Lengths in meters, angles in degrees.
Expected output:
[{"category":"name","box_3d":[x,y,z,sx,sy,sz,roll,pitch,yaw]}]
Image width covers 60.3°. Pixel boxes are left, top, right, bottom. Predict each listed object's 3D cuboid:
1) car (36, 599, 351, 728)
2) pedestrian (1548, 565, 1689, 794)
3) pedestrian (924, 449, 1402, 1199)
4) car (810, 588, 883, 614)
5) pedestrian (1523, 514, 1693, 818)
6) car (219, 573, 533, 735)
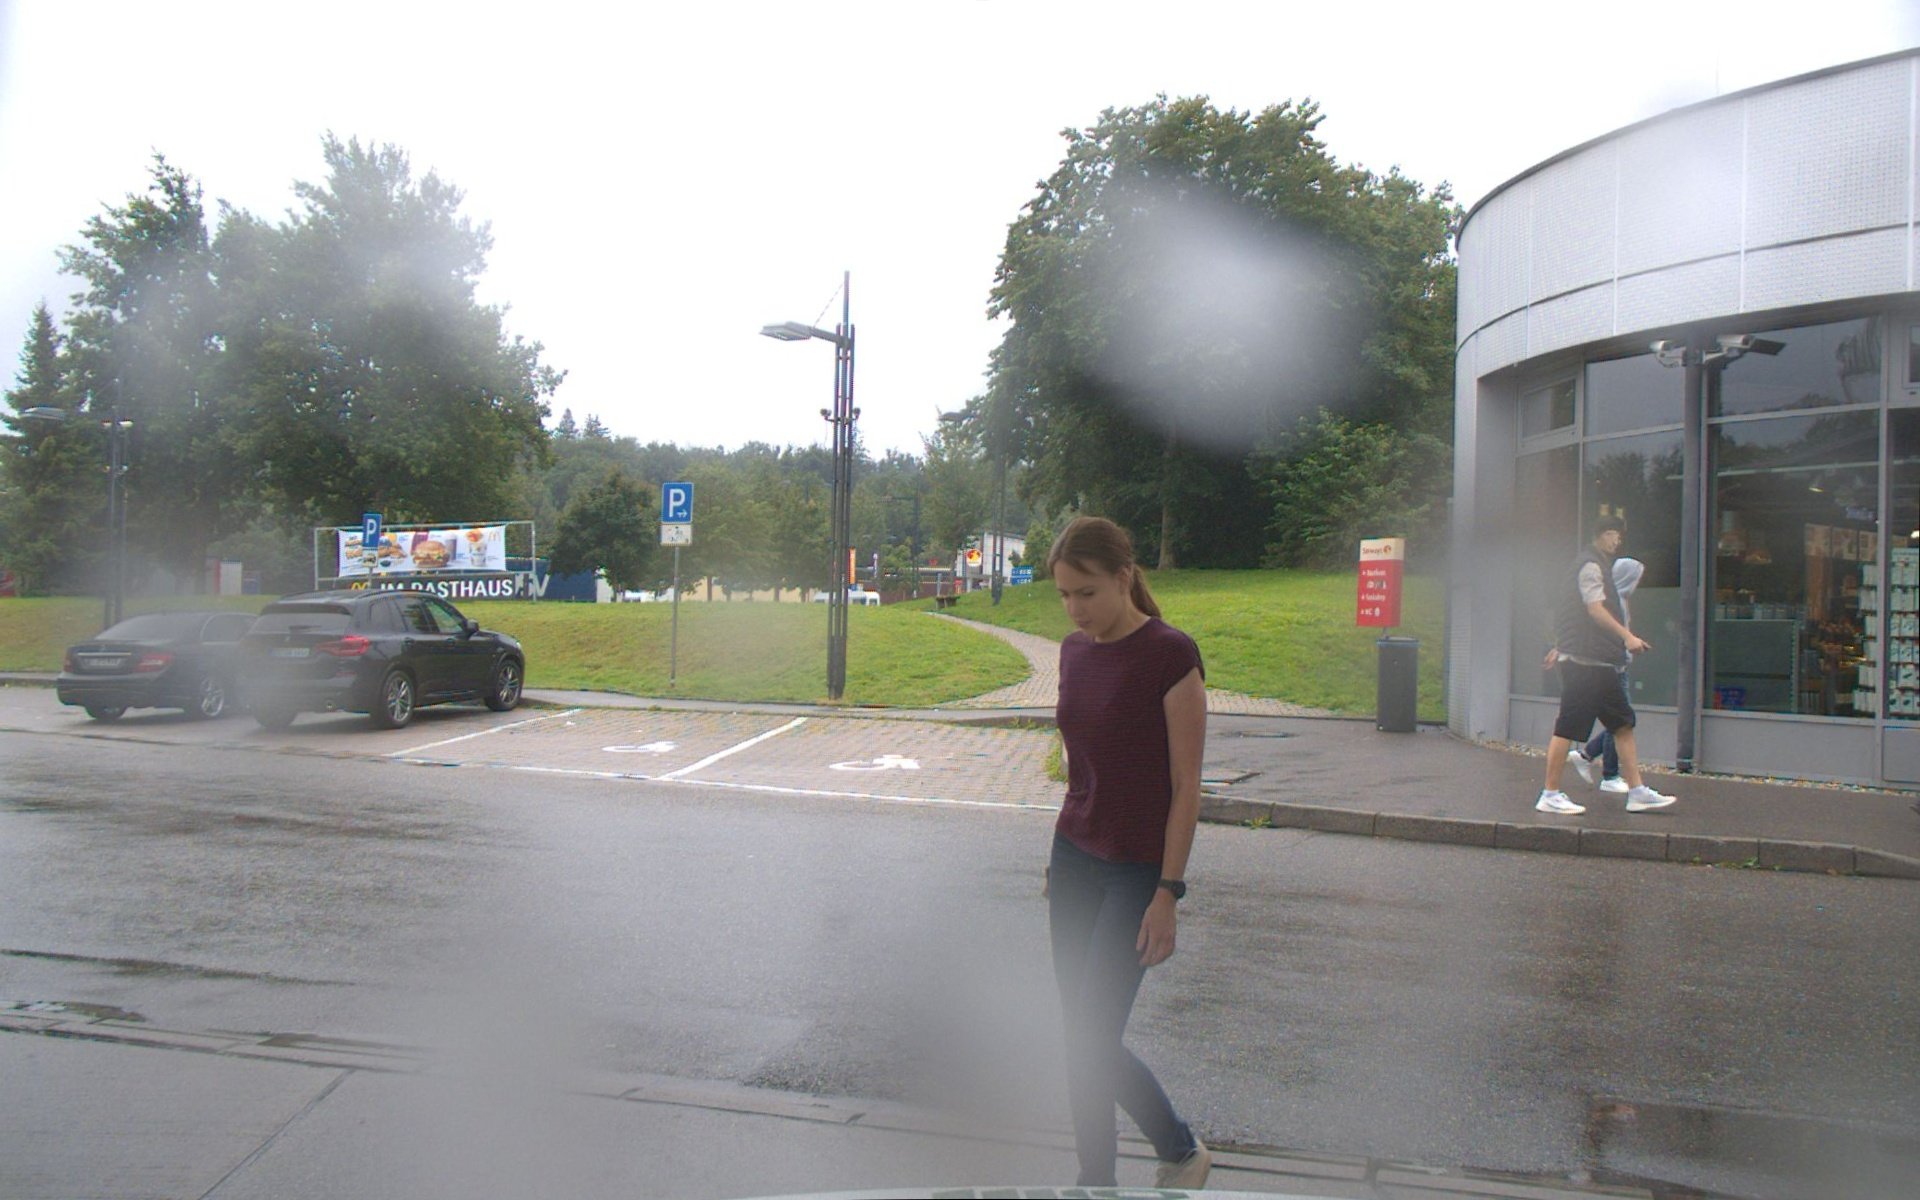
[{"category":"car","box_3d":[-10.361,0.786,22.744,1.844,1.592,4.189,0,0,11]},{"category":"pedestrian","box_3d":[4.747,0.546,11.920,0.872,1.577,0.659,0,0,29]},{"category":"pedestrian","box_3d":[0.476,0.595,3.732,0.780,1.765,0.837,0,0,34]},{"category":"car","box_3d":[-9.179,0.080,133.614,5.310,2.049,2.456,1,0,19]},{"category":"pedestrian","box_3d":[4.231,0.405,10.785,0.954,1.880,0.772,0,0,28]},{"category":"car","box_3d":[-7.335,0.613,21.305,1.844,1.860,4.417,0,0,11]}]
